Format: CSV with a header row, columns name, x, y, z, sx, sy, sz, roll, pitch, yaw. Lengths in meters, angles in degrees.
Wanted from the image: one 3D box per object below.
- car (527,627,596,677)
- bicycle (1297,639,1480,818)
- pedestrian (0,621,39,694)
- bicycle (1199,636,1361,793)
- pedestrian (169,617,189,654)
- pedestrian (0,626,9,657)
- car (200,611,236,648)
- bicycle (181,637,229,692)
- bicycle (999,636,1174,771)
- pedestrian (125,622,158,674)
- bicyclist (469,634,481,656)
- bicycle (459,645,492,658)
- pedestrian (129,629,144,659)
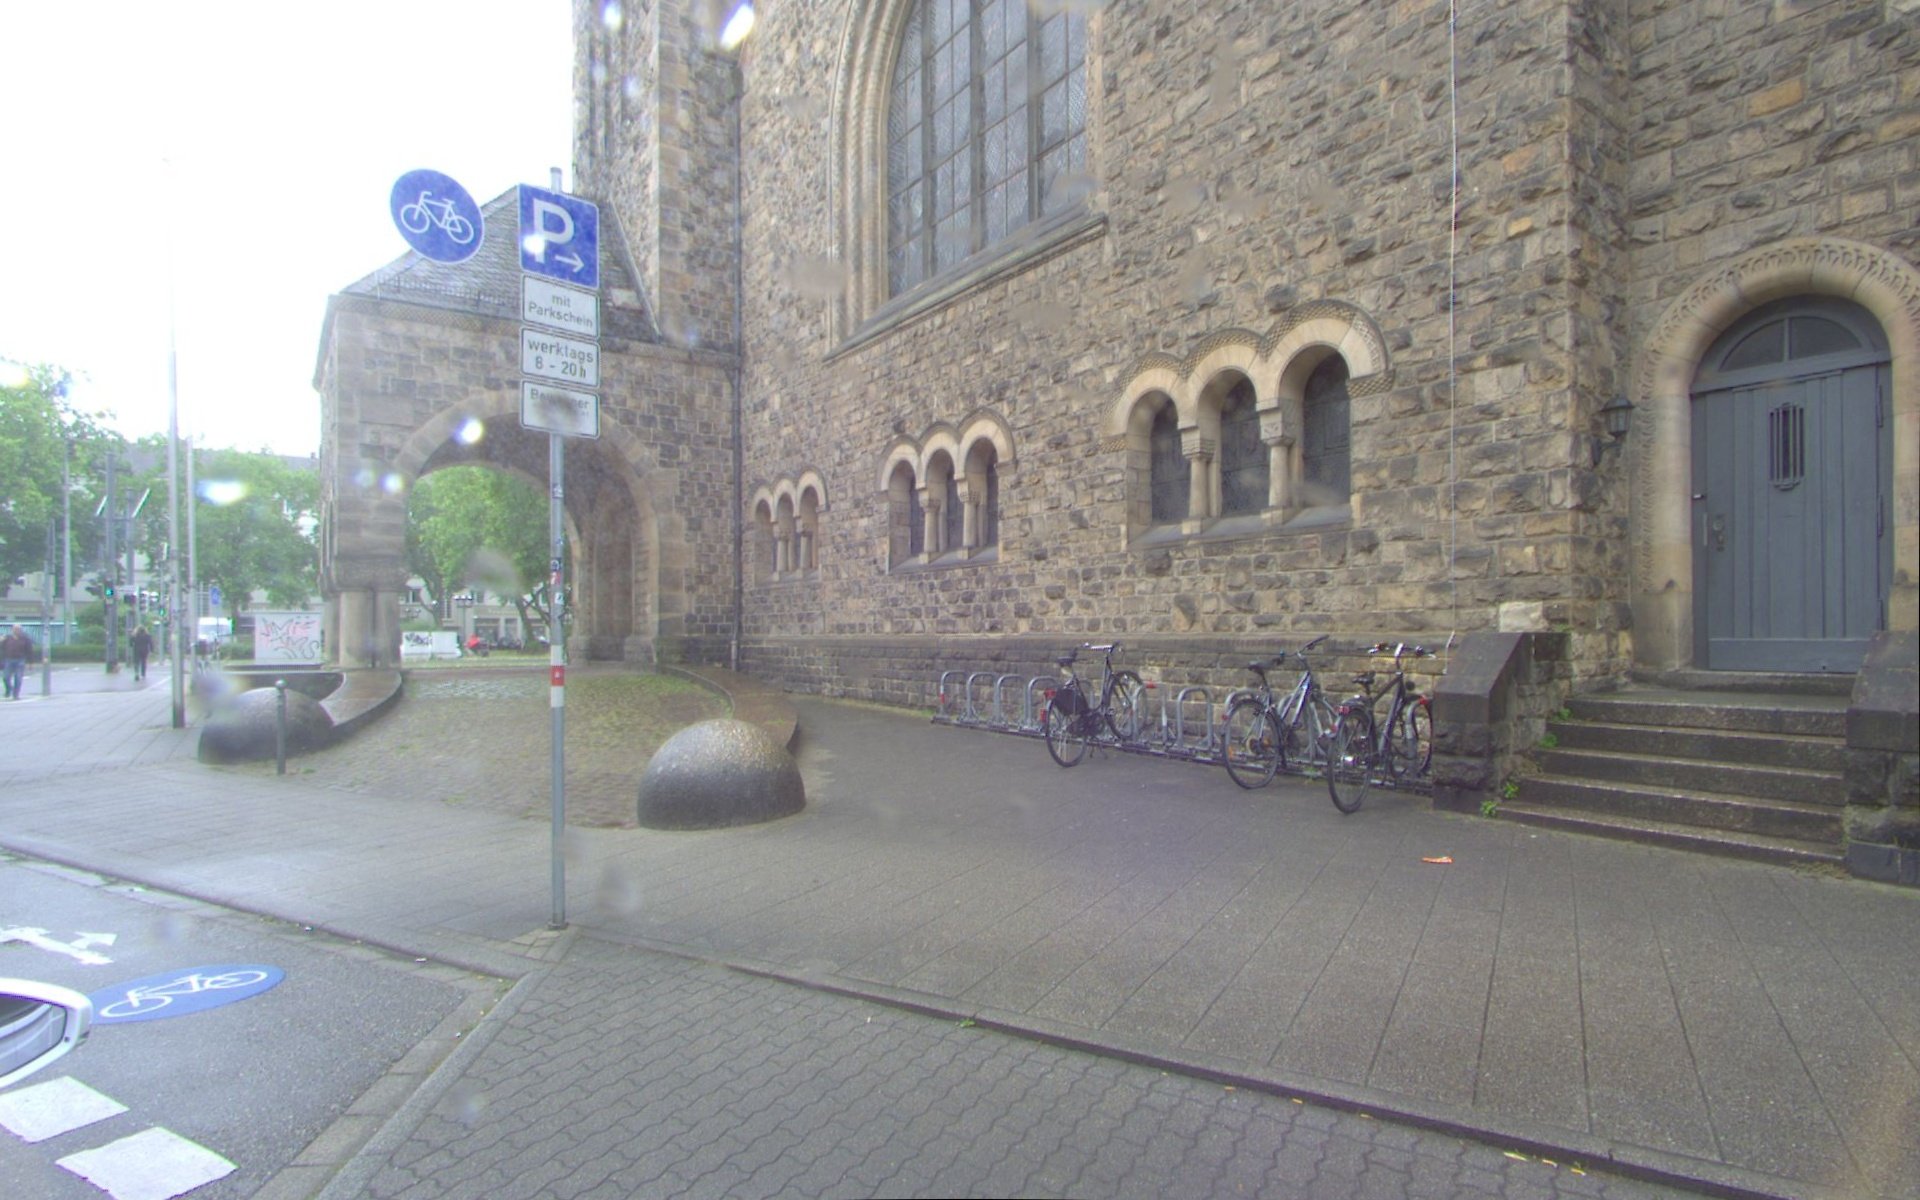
name,x,y,z,sx,sy,sz,roll,pitch,yaw
car,-12.708,1.625,31.869,1.389,1.498,3.200,1,-2,-34
bicycle,3.181,0.865,7.330,1.971,1.068,0.507,-2,0,-45
pedestrian,-23.584,1.418,25.065,0.780,1.782,0.936,0,0,-43
bicycle,2.730,0.903,8.431,1.697,1.126,0.556,-2,0,-45
pedestrian,-43.140,1.955,55.287,0.797,2.040,0.586,0,-1,-31
pedestrian,-49.155,2.104,51.121,0.666,1.573,0.758,0,-2,-30
car,-53.693,2.125,72.526,1.888,2.588,4.757,0,-1,-34
bicycle,-16.609,1.395,22.015,2.049,1.169,0.327,-1,-1,38
bicycle,1.296,0.962,9.909,0.684,1.119,1.973,-1,0,43
pedestrian,-26.909,1.559,32.921,0.775,1.667,0.651,0,0,-34
bicyclist,-28.949,2.686,59.744,0.517,1.266,0.648,0,-1,-36
bicycle,-28.898,3.076,59.766,1.683,0.728,0.648,1,-1,-38
pedestrian,-44.985,2.420,54.710,0.607,1.624,0.491,0,-1,-34
